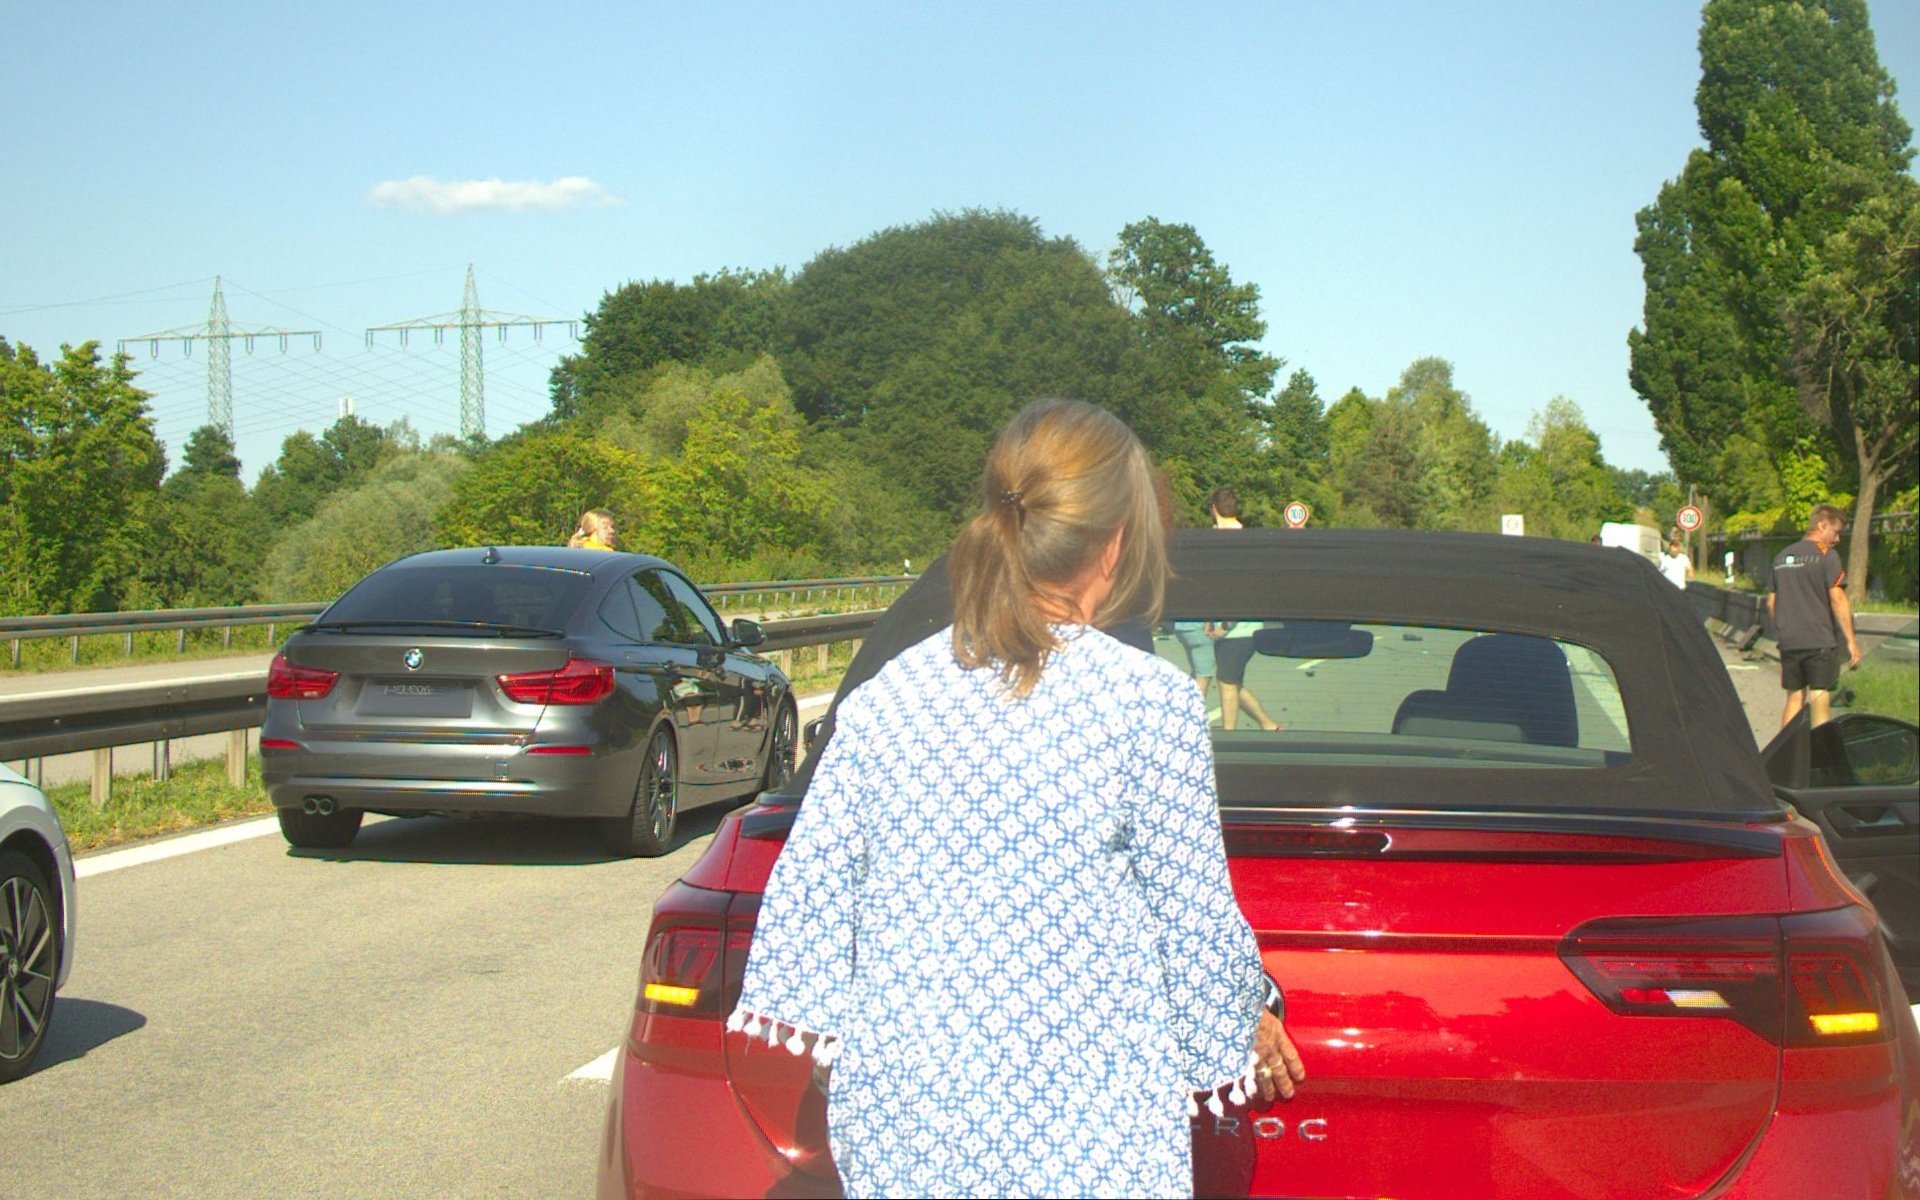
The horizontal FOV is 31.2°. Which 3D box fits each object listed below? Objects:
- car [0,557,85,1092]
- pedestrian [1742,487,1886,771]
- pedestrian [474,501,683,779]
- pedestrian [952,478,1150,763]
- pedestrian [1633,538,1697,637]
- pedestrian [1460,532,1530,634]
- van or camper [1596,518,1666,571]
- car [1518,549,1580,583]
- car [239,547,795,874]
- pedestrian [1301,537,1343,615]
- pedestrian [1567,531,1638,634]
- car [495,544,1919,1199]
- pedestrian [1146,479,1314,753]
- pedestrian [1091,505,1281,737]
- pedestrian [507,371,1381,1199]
[{"bbox_3d":[-3.642,0.620,7.840,1.695,1.436,4.209,1,1,8],"label":"car"},{"bbox_3d":[5.431,0.176,21.835,0.812,1.753,0.827,1,0,17],"label":"pedestrian"},{"bbox_3d":[-2.474,0.248,22.413,1.041,1.757,1.118,-1,1,11],"label":"pedestrian"},{"bbox_3d":[0.627,0.126,23.306,1.066,1.876,1.092,0,1,17],"label":"pedestrian"},{"bbox_3d":[12.327,-0.222,60.073,0.997,1.683,1.010,1,0,16],"label":"pedestrian"},{"bbox_3d":[8.988,-0.283,57.774,1.114,1.683,0.973,1,0,10],"label":"pedestrian"},{"bbox_3d":[30.288,-2.493,155.068,1.996,2.308,4.464,1,1,26],"label":"van or camper"},{"bbox_3d":[26.920,-1.569,157.096,1.735,1.482,4.205,1,1,25],"label":"car"},{"bbox_3d":[-2.093,0.456,17.507,1.695,1.421,4.332,1,1,8],"label":"car"},{"bbox_3d":[7.907,-0.533,75.121,0.792,1.683,0.792,1,0,14],"label":"pedestrian"},{"bbox_3d":[10.721,-0.293,57.376,1.056,1.683,1.016,1,0,15],"label":"pedestrian"},{"bbox_3d":[0.609,0.654,6.030,1.733,1.482,4.209,1,1,8],"label":"car"},{"bbox_3d":[1.926,0.105,24.741,1.105,1.906,1.257,-1,1,1],"label":"pedestrian"},{"bbox_3d":[1.775,0.161,27.130,1.087,1.782,1.108,1,1,-22],"label":"pedestrian"},{"bbox_3d":[0.026,0.617,3.713,0.839,1.677,0.743,0,1,8],"label":"pedestrian"}]
